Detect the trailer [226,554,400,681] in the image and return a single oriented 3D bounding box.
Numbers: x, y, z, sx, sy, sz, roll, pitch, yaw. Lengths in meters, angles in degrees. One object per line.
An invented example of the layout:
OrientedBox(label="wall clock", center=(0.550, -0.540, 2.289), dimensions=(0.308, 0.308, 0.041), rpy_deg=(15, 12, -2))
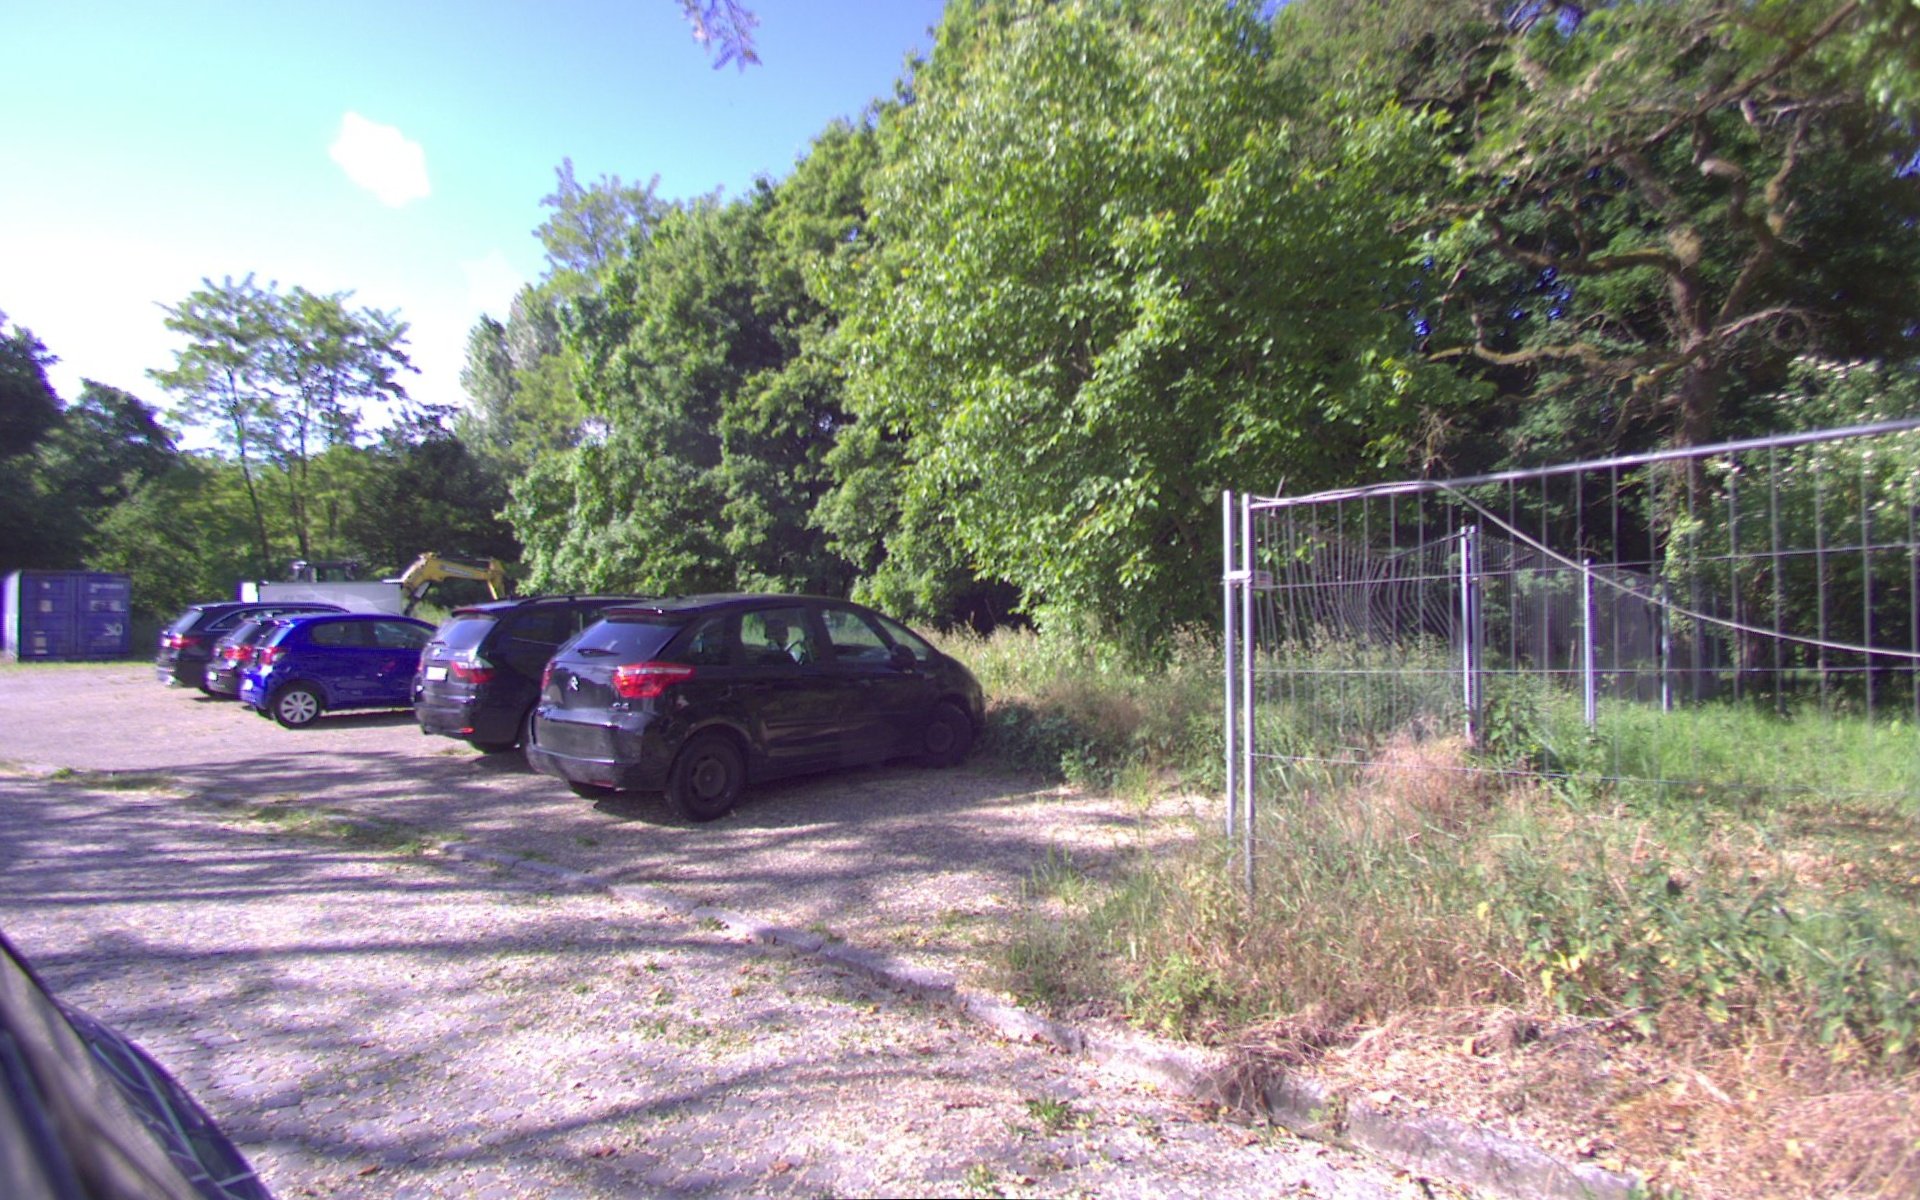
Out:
OrientedBox(label="trailer", center=(-14.433, 0.317, 22.589), dimensions=(2.808, 2.557, 2.268), rpy_deg=(-4, 2, -44))

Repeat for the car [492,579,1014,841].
OrientedBox(label="car", center=(-1.544, 0.711, 8.866), dimensions=(1.828, 1.601, 4.217), rpy_deg=(-2, 1, 40))

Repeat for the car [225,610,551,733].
OrientedBox(label="car", center=(-8.084, 0.902, 14.491), dimensions=(3.733, 1.469, 1.787), rpy_deg=(-1, 0, -44))

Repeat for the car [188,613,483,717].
OrientedBox(label="car", center=(-9.981, 0.948, 16.327), dimensions=(1.896, 1.422, 3.734), rpy_deg=(0, 0, 45))

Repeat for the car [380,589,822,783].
OrientedBox(label="car", center=(-3.772, 0.751, 11.220), dimensions=(1.880, 1.643, 4.214), rpy_deg=(-1, 1, 41))

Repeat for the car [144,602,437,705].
OrientedBox(label="car", center=(-11.835, 0.849, 18.054), dimensions=(1.971, 1.602, 4.071), rpy_deg=(0, 0, 45))

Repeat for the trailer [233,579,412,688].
OrientedBox(label="trailer", center=(-13.037, 0.627, 20.751), dimensions=(2.807, 2.066, 1.826), rpy_deg=(0, 0, -44))

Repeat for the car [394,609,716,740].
OrientedBox(label="car", center=(-5.375, 0.887, 13.618), dimensions=(3.666, 1.462, 1.747), rpy_deg=(-1, 0, -40))
